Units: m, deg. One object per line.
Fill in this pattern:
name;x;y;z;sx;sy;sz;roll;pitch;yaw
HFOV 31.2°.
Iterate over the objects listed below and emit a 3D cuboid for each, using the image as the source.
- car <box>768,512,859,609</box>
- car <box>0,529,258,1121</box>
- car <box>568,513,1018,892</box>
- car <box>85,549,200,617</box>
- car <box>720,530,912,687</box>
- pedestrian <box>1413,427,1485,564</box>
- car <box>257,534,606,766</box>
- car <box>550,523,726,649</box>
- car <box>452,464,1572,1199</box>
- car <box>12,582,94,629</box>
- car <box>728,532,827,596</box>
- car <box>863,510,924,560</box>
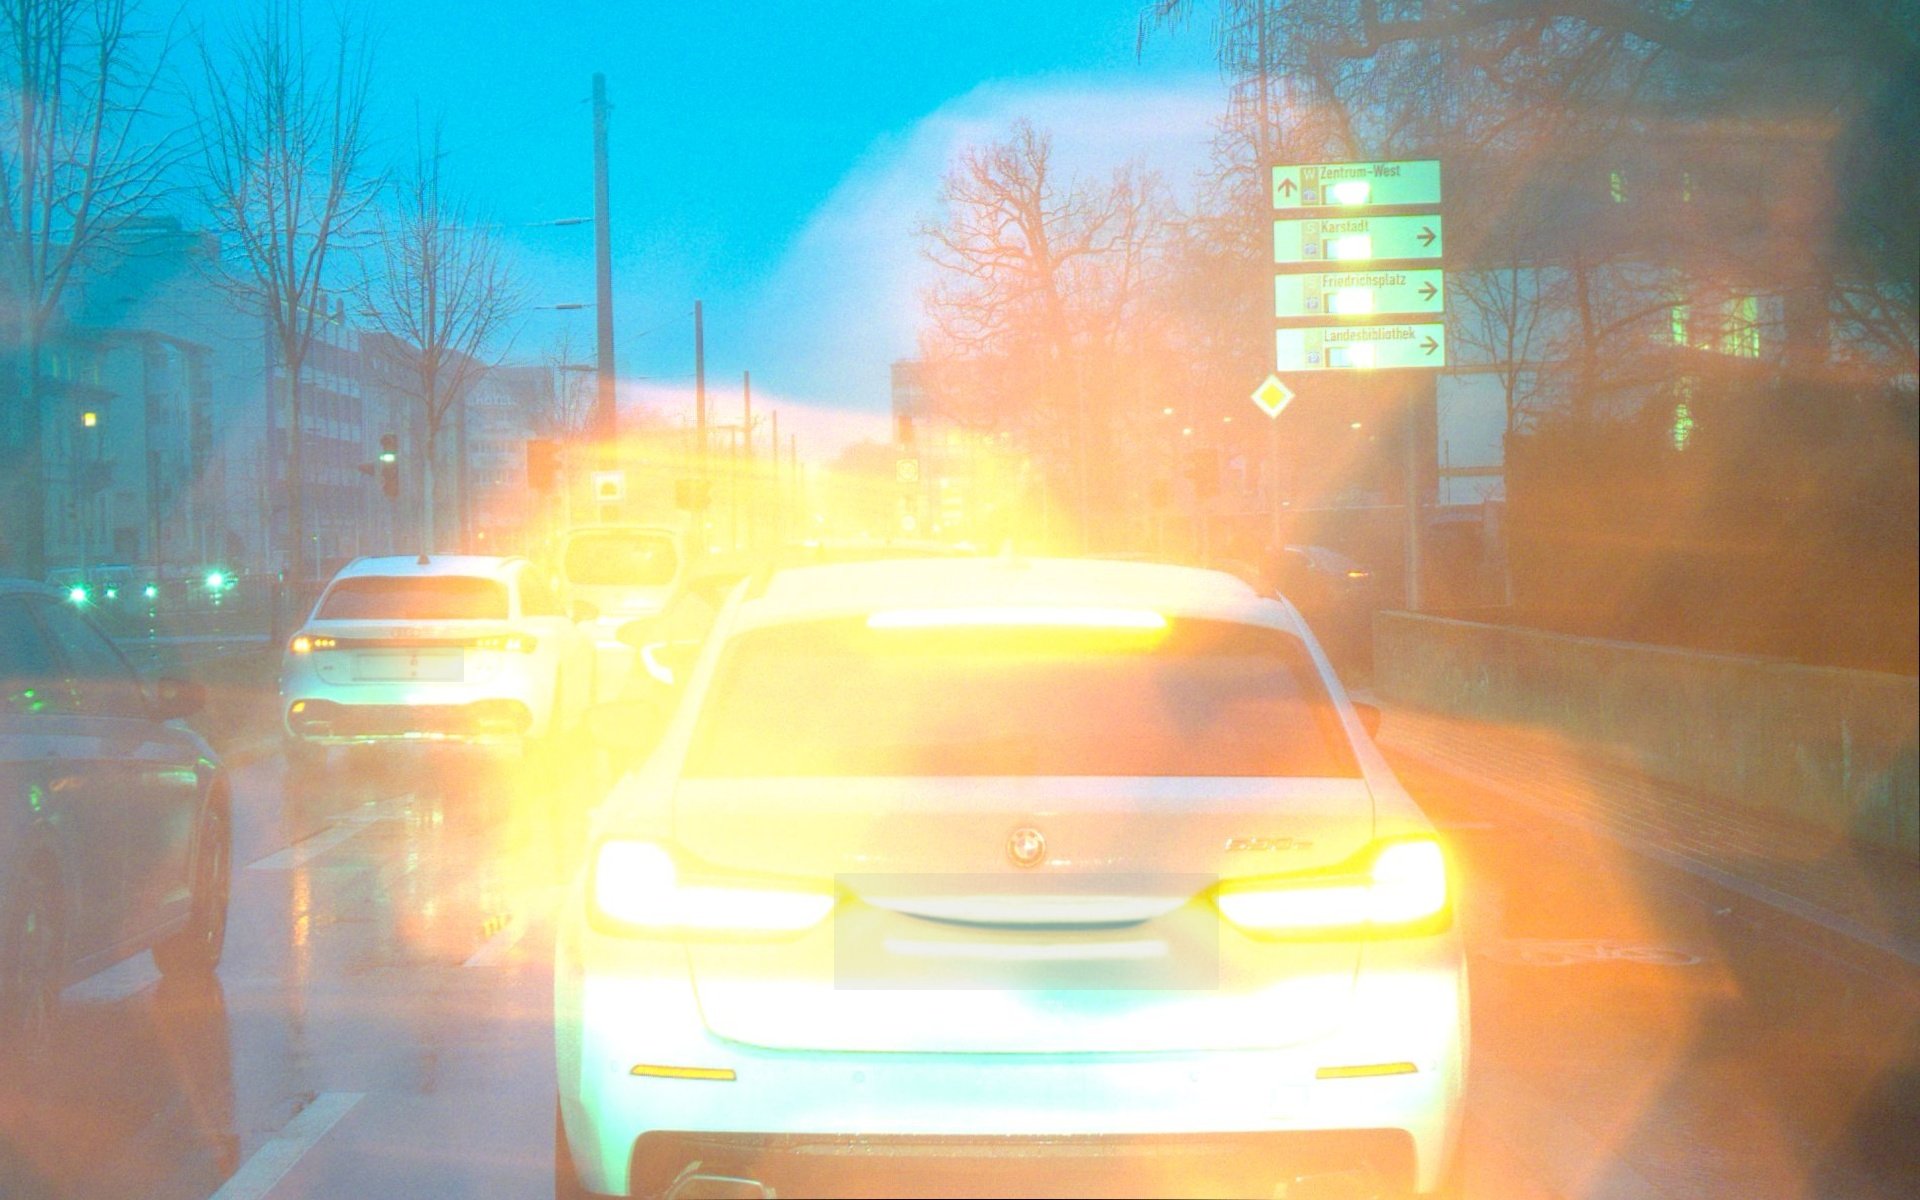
car;-2.583;-0.689;60.119;1.505;1.647;2.845;1;1;-4
car;-3.375;0.543;10.656;1.693;1.528;4.000;0;1;-2
car;-0.698;0.387;15.871;1.800;1.505;3.895;-1;1;-1
car;-20.119;-0.428;84.757;1.993;1.597;4.000;1;1;-2
car;-1.358;0.040;33.718;1.737;1.415;3.703;-1;1;-1
pedestrian;7.318;-1.562;51.489;0.959;2.007;1.007;-1;1;5
car;-3.660;0.280;24.566;1.799;1.461;4.586;-1;1;-1
car;-3.848;-0.203;41.707;1.737;1.415;4.394;-1;1;-1
car;0.066;0.518;8.268;1.862;1.550;4.938;-1;1;-1
car;-26.050;0.142;98.814;1.690;1.273;4.149;-1;1;-7
car;-3.835;-0.755;72.733;1.930;1.284;4.000;1;1;-1
car;-1.964;-1.937;101.921;1.737;1.415;4.146;-1;1;-1
